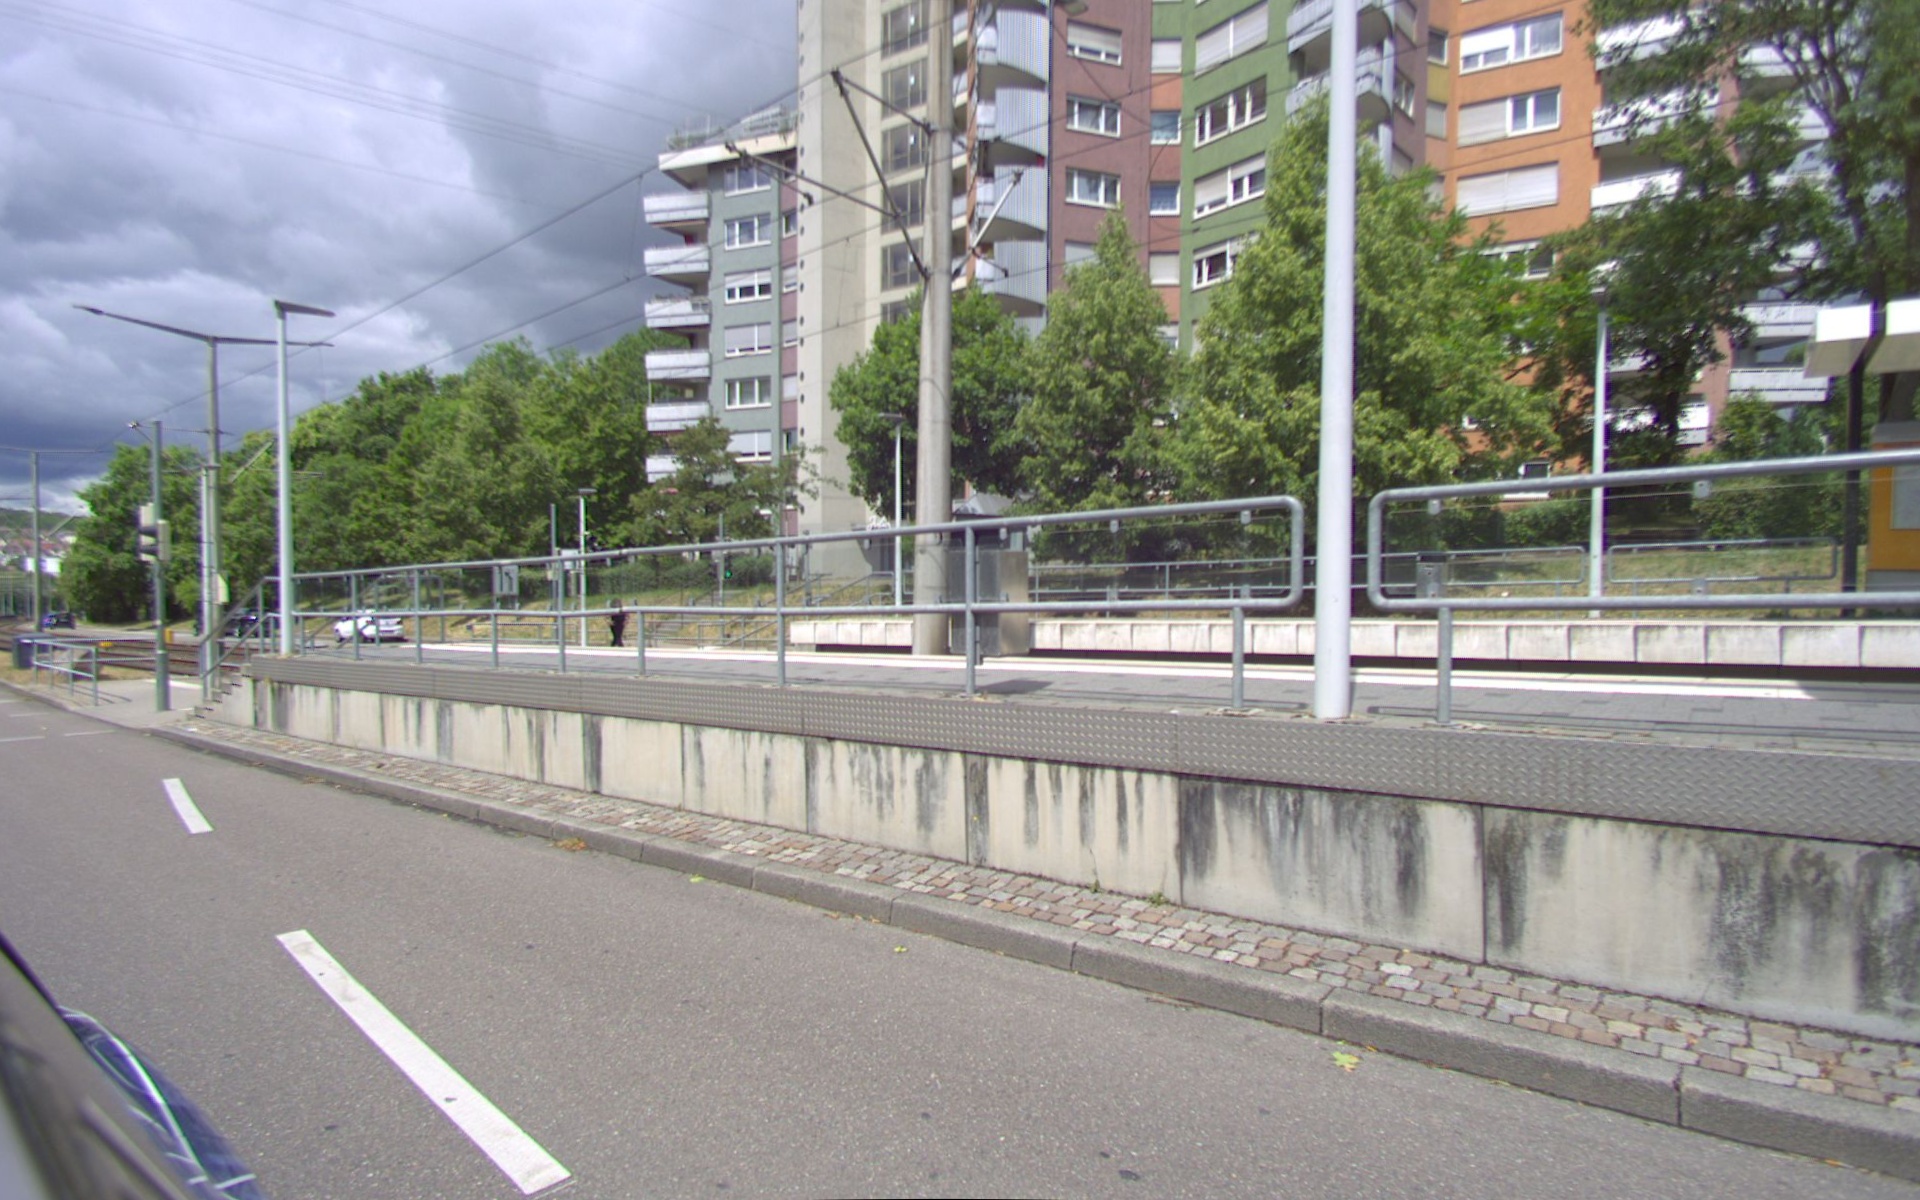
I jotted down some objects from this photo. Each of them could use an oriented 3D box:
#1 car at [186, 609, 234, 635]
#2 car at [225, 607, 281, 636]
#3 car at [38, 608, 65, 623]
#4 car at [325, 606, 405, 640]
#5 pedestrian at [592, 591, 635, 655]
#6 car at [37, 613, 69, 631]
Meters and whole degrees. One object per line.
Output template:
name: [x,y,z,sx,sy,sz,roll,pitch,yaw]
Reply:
car: [-44.873,1.307,60.510,3.468,1.451,1.585,-1,0,41]
car: [-38.836,1.161,55.578,3.735,1.524,1.637,-1,0,41]
car: [-93.581,1.617,104.194,3.735,1.466,1.615,-1,0,41]
car: [-26.374,0.994,44.820,3.993,1.429,1.639,-1,0,37]
pedestrian: [-8.712,0.566,25.438,0.824,1.575,0.681,-1,0,42]
car: [-82.076,1.968,91.568,3.735,1.524,1.637,-1,0,41]
